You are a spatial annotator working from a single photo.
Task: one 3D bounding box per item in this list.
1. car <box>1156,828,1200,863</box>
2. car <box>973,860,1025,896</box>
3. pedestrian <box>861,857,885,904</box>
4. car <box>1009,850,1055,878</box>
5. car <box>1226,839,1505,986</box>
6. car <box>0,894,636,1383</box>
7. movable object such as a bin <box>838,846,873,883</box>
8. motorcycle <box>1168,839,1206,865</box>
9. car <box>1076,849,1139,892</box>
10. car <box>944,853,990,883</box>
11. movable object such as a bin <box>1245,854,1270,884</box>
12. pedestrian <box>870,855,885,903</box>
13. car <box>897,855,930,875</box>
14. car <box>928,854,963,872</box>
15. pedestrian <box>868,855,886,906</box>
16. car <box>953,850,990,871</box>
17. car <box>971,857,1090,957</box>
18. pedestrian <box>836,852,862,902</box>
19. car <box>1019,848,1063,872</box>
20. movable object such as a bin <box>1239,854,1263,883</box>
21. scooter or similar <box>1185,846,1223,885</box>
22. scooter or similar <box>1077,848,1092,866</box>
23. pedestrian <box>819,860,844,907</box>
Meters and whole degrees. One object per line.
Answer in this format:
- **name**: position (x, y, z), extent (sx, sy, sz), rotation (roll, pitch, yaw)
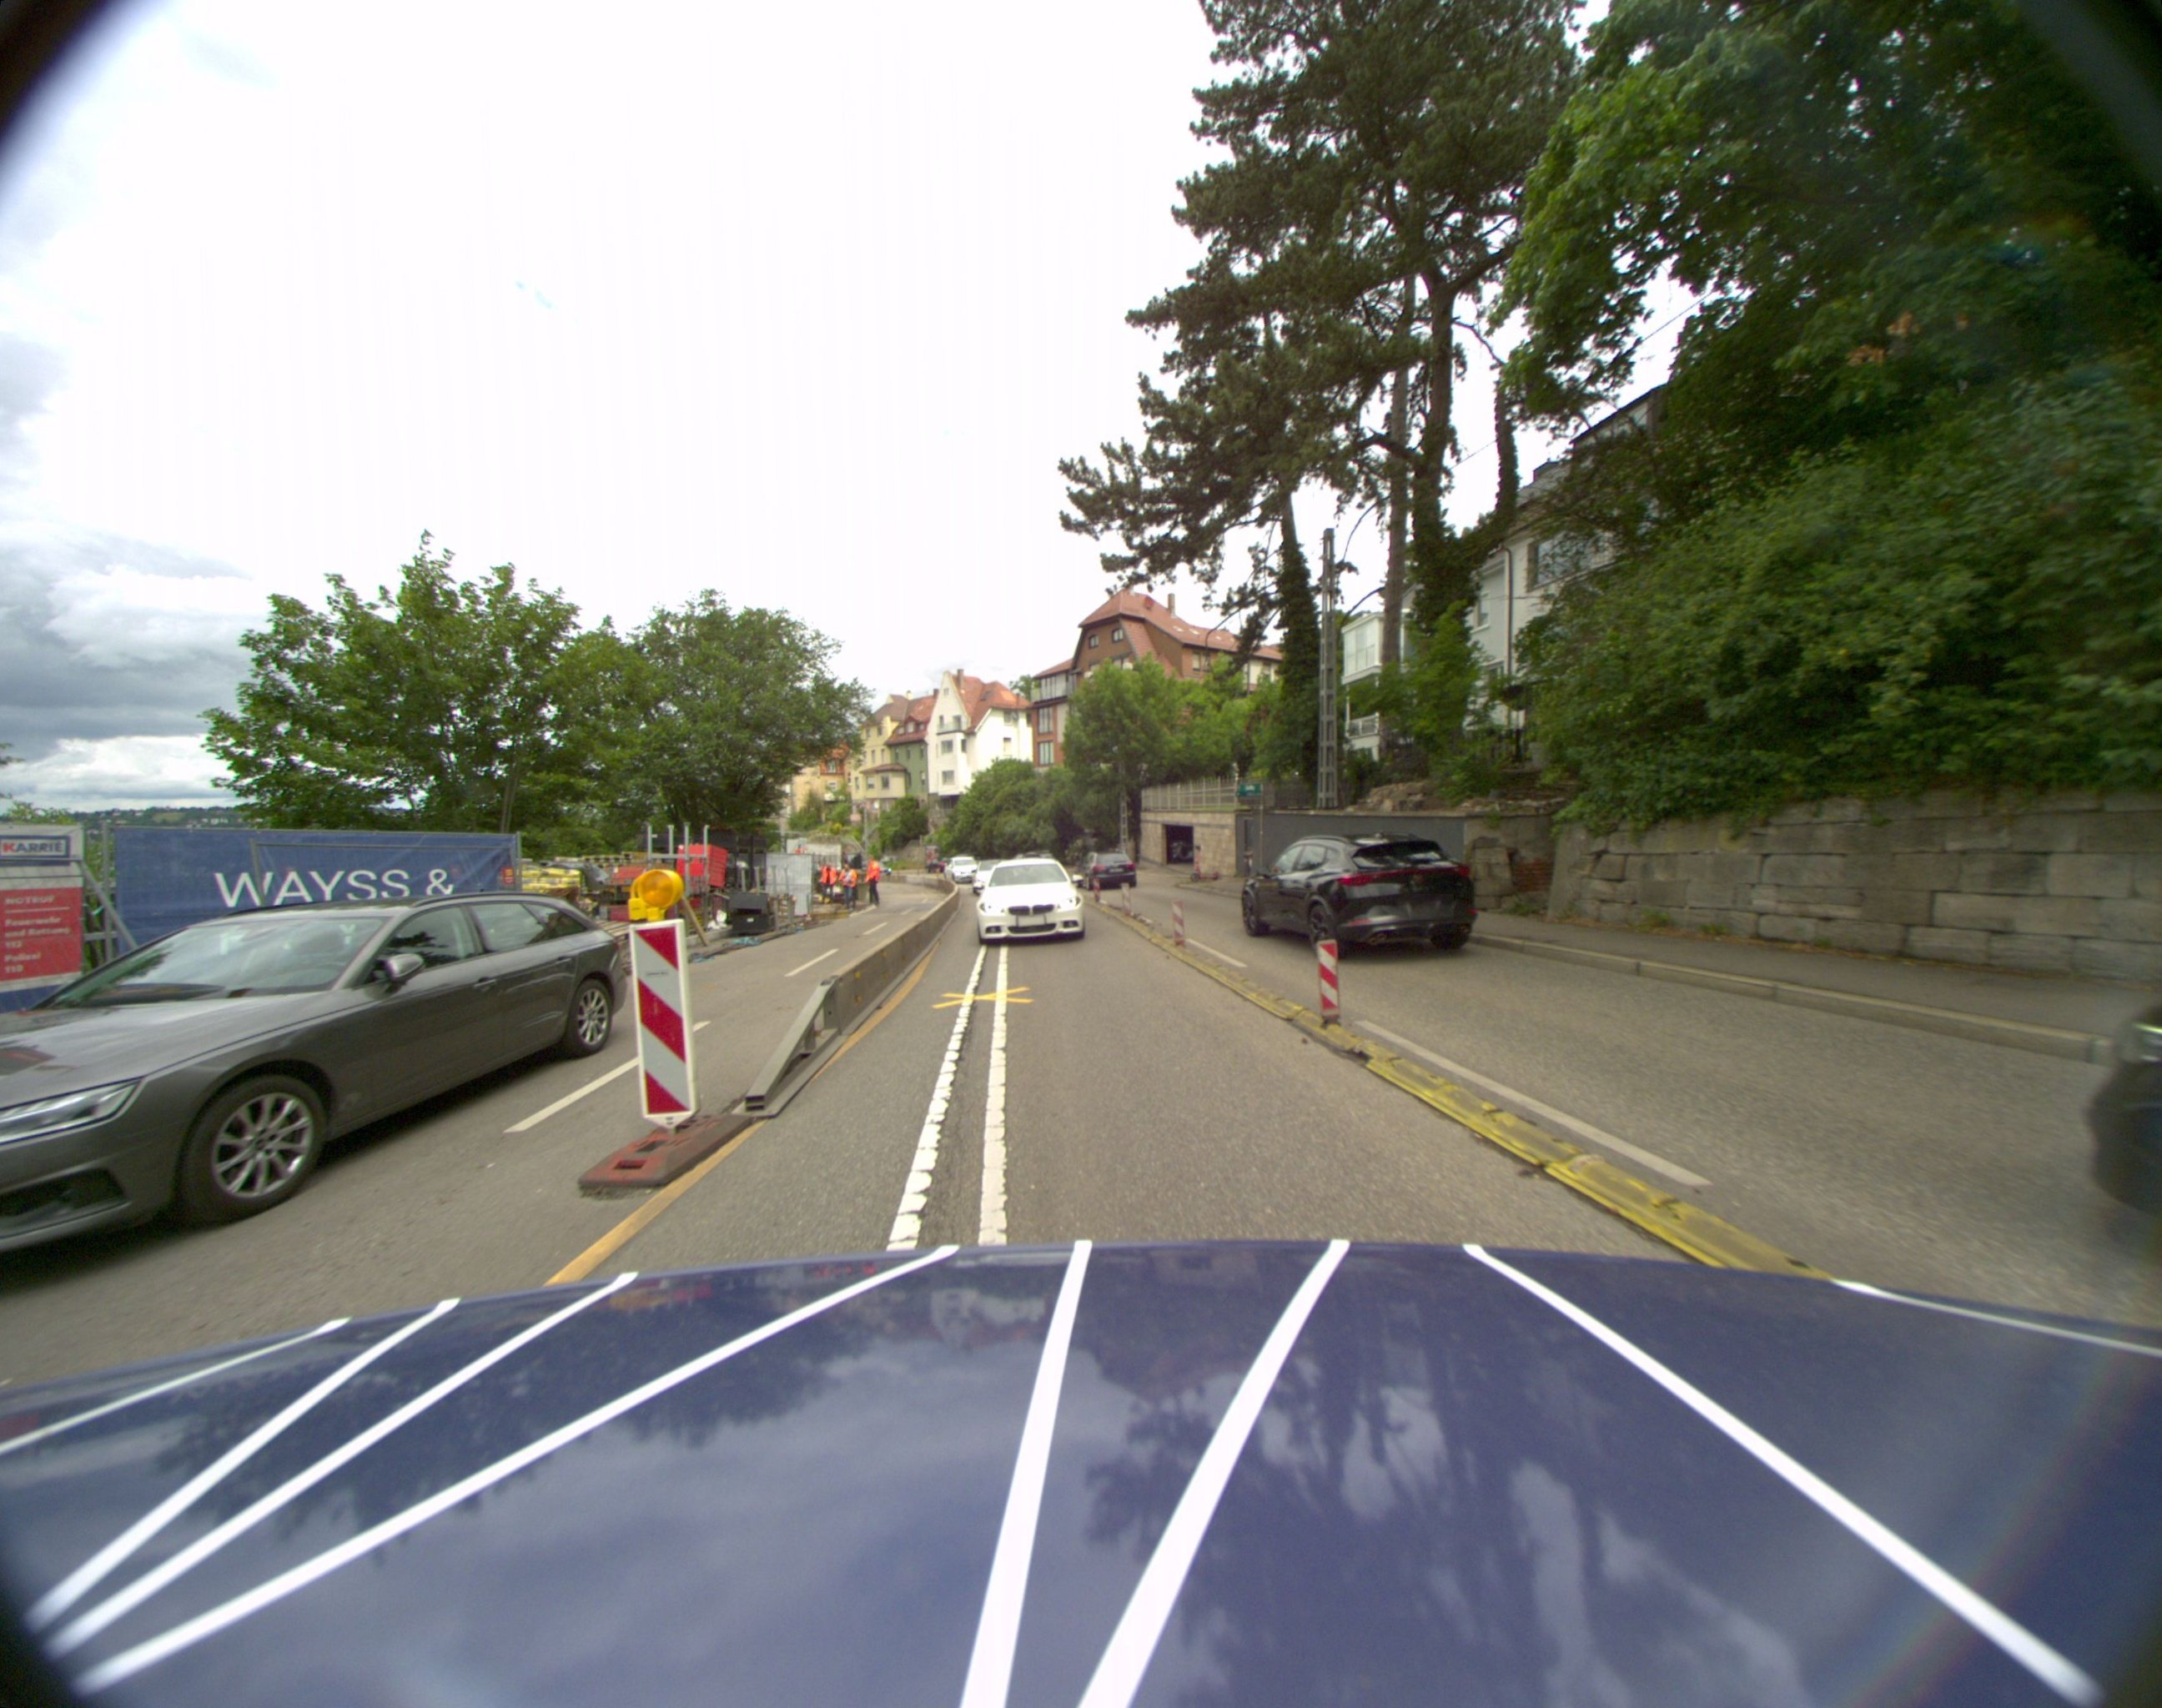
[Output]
- **car**: position (5.329, -0.487, 42.299), extent (1.573, 1.596, 3.582), rotation (-4, 5, -6)
- **car**: position (-3.511, 0.962, 32.025), extent (1.799, 1.299, 4.096), rotation (-2, 1, -11)
- **pedestrian**: position (-8.350, 1.062, 30.471), extent (0.717, 1.873, 0.620), rotation (-4, -2, 44)
- **car**: position (-3.045, 0.621, 46.547), extent (1.765, 1.520, 3.905), rotation (-5, 1, -18)
- **car**: position (3.560, 0.616, 10.505), extent (1.834, 1.476, 4.315), rotation (-4, 1, -5)
- **car**: position (-4.874, 1.148, 4.637), extent (1.845, 1.447, 4.625), rotation (-3, 0, -5)
- **movable object such as a bin**: position (-17.313, 0.808, 58.208), extent (1.866, 2.580, 3.434), rotation (-4, 1, -25)
- **motorcycle**: position (5.615, -0.099, 40.143), extent (1.843, 1.177, 0.636), rotation (-4, 6, -2)
- **car**: position (0.961, 0.603, 30.013), extent (1.796, 1.456, 4.507), rotation (-4, 1, -6)
- **car**: position (-6.991, 0.836, 46.239), extent (1.888, 1.569, 3.993), rotation (-4, 1, -20)
- **movable object such as a bin**: position (5.732, 0.474, 24.712), extent (0.544, 0.933, 0.600), rotation (-4, 1, -7)
- **pedestrian**: position (-7.886, 0.948, 29.401), extent (0.527, 1.832, 0.795), rotation (0, 0, -17)
- **car**: position (-15.592, 0.999, 70.527), extent (1.771, 1.587, 3.783), rotation (-9, 3, -29)
- **car**: position (-12.745, 0.821, 71.373), extent (1.685, 1.409, 3.782), rotation (-9, 3, -33)
- **pedestrian**: position (-7.629, 0.972, 28.390), extent (0.640, 1.848, 0.833), rotation (0, 0, -17)
- **car**: position (-9.746, 0.623, 67.343), extent (1.771, 1.587, 3.783), rotation (-9, 3, -29)
- **car**: position (-0.860, 0.881, 14.979), extent (1.852, 1.458, 4.877), rotation (-4, 1, -1)
- **pedestrian**: position (-9.221, 0.910, 30.206), extent (0.732, 1.880, 0.618), rotation (-6, 1, -24)
- **car**: position (-2.815, 0.424, 52.972), extent (1.826, 1.426, 3.709), rotation (-8, 2, -22)
- **movable object such as a bin**: position (5.659, 0.470, 25.312), extent (0.544, 0.933, 0.600), rotation (-4, 1, -7)
- **scooter or similar**: position (4.189, 0.396, 25.869), extent (1.217, 1.225, 0.493), rotation (-5, 2, -39)
- **scooter or similar**: position (0.243, 0.206, 53.052), extent (0.406, 1.251, 0.962), rotation (-9, 4, -33)
- **pedestrian**: position (-9.955, 1.178, 30.309), extent (0.648, 1.784, 0.642), rotation (-6, 3, -31)
